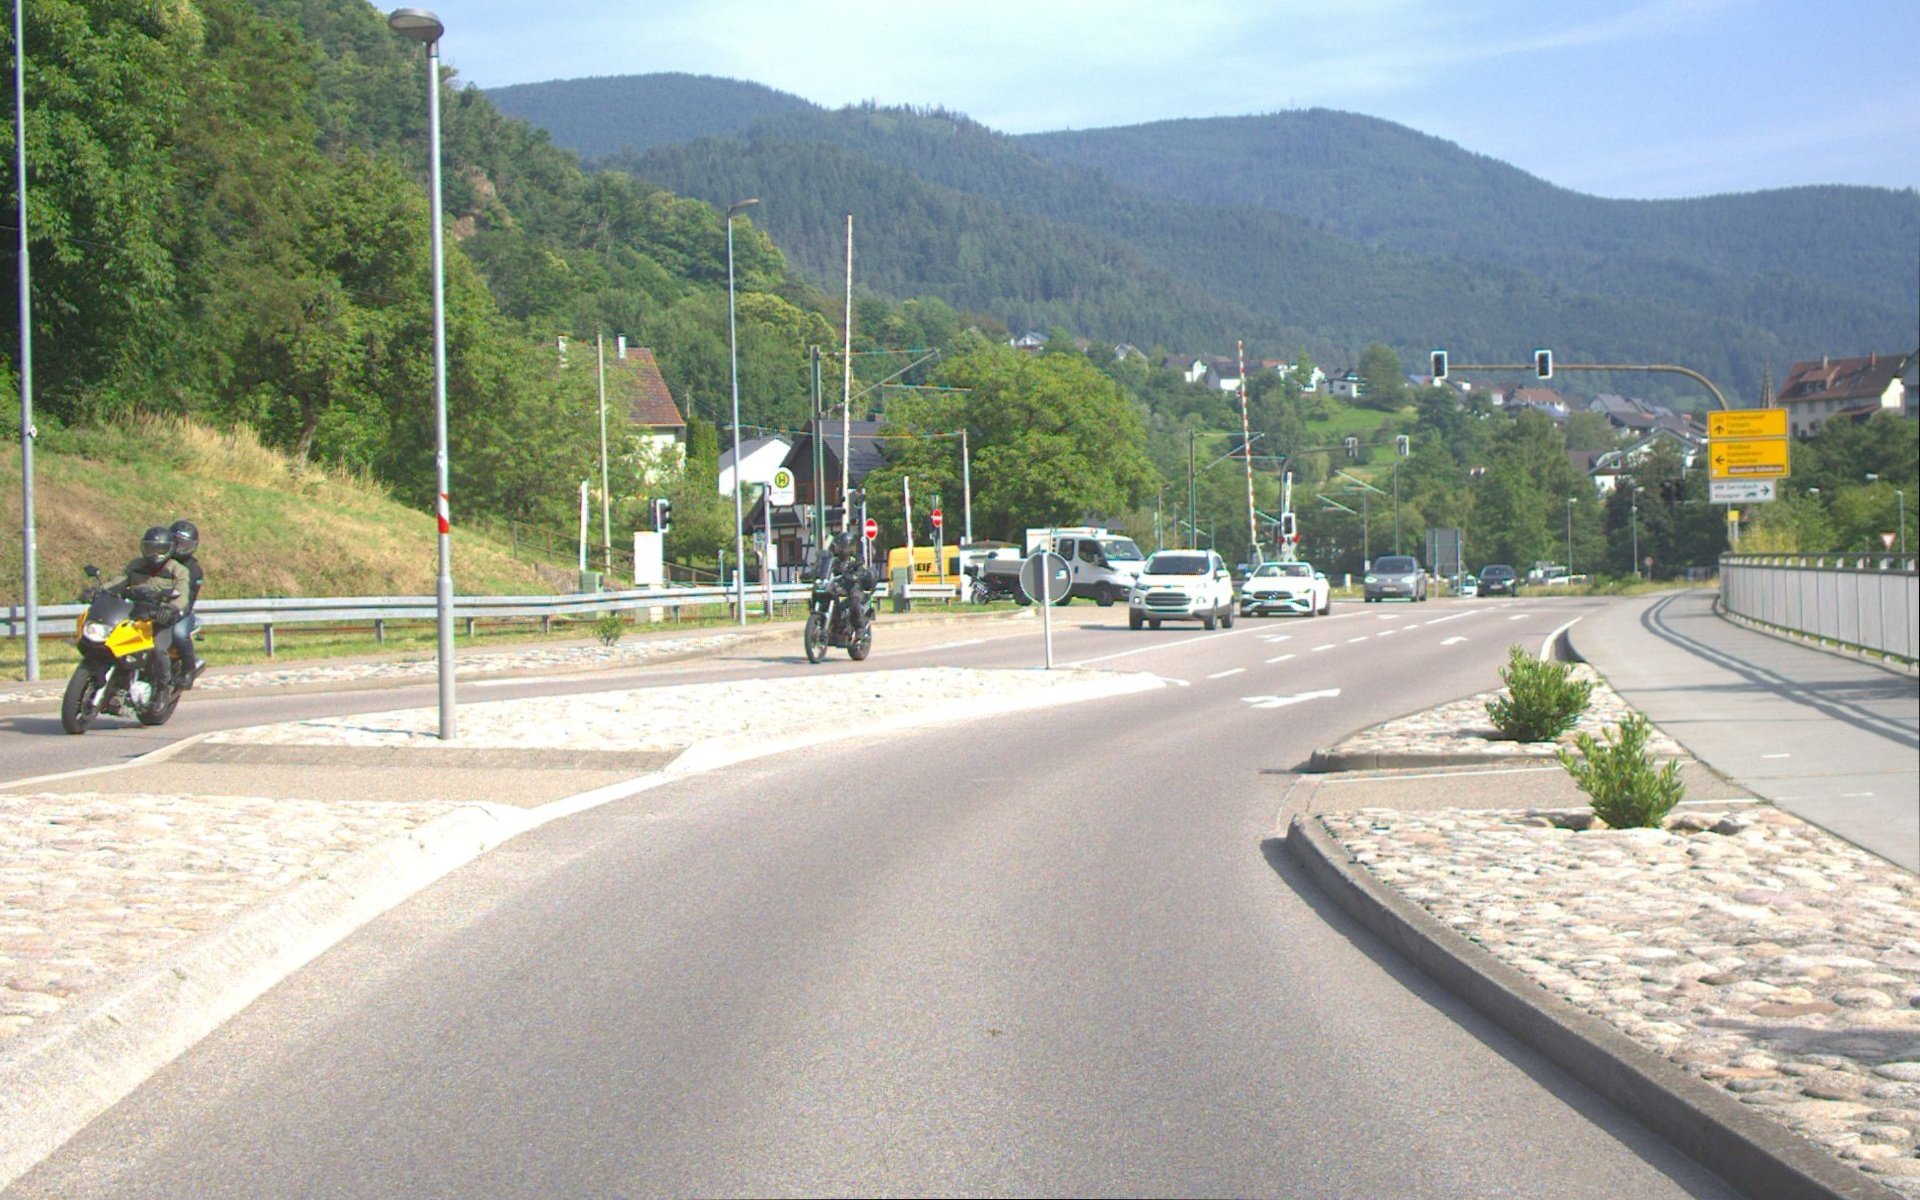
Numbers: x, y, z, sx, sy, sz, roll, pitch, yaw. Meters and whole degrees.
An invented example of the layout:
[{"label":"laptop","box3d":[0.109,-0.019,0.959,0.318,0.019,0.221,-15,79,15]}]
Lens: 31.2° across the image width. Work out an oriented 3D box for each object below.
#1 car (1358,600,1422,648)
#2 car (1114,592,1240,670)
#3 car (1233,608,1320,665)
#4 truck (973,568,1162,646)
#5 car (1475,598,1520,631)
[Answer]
[{"label":"car","box3d":[14.633,0.841,116.767,1.759,1.516,4.201,1,-2,12]},{"label":"car","box3d":[4.491,0.636,70.574,1.765,1.555,3.997,0,-1,16]},{"label":"car","box3d":[8.081,0.921,87.508,1.783,1.395,4.824,0,-1,10]},{"label":"truck","box3d":[3.233,0.181,104.494,5.999,2.258,1.995,1,1,45]},{"label":"car","box3d":[24.021,0.640,153.624,1.774,1.412,3.783,-1,0,12]}]
